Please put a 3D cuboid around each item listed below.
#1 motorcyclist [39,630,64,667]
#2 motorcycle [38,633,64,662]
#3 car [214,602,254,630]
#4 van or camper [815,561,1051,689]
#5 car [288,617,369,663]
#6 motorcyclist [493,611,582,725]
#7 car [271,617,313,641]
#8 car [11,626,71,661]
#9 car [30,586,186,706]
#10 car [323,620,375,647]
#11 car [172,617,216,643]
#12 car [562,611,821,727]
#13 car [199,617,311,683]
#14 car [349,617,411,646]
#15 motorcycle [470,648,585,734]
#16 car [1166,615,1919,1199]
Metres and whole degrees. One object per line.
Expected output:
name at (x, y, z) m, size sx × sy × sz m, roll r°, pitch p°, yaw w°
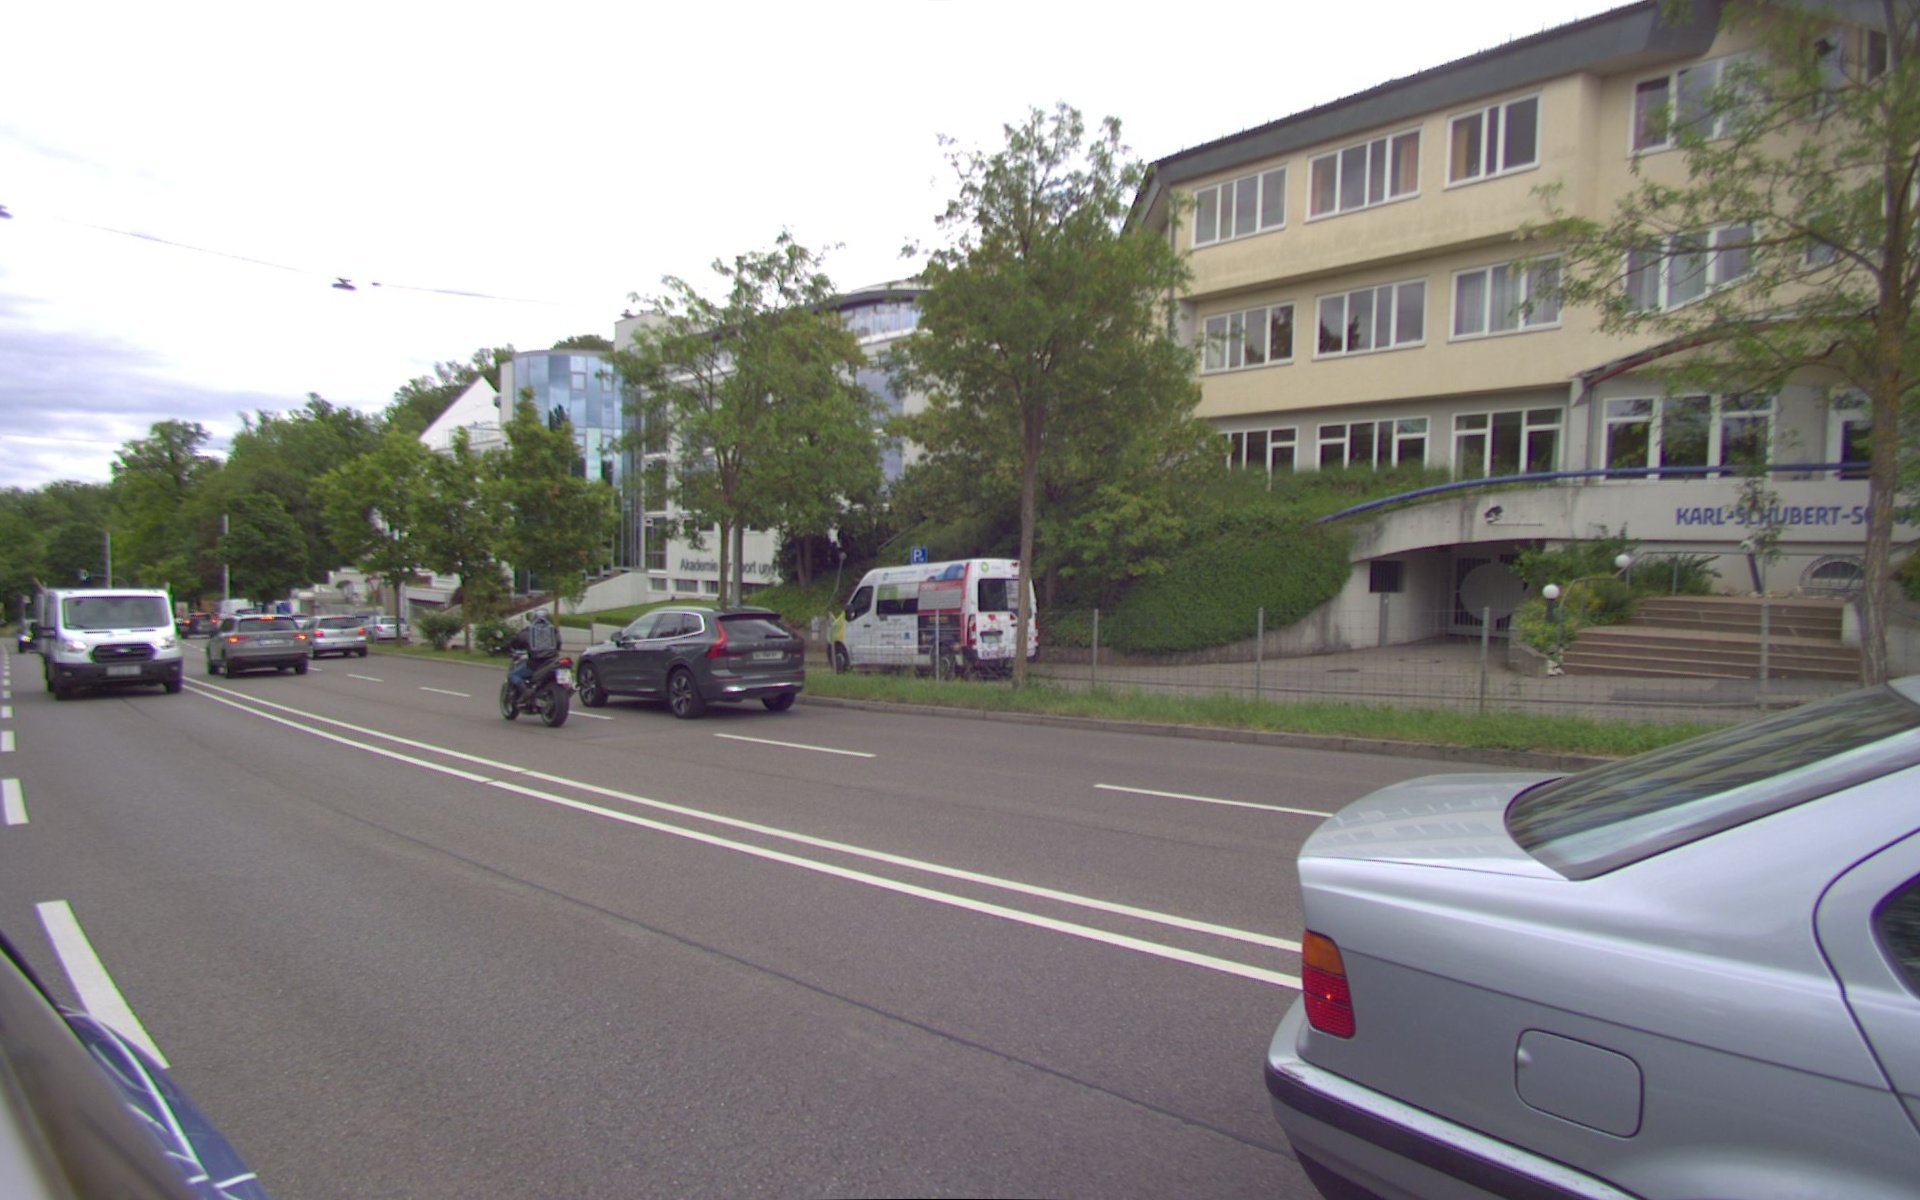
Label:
motorcyclist at (-38.358, 2.047, 42.728) m, size 0.931 × 1.482 × 0.611 m, roll -2°, pitch 2°, yaw 43°
motorcycle at (-38.683, 2.001, 43.043) m, size 2.296 × 1.135 × 0.567 m, roll -2°, pitch 2°, yaw 43°
car at (-70.144, 1.578, 97.740) m, size 6.535 × 2.545 × 1.971 m, roll -2°, pitch 1°, yaw 44°
van or camper at (-0.767, 0.524, 22.357) m, size 1.969 × 2.491 × 5.717 m, roll 0°, pitch -1°, yaw -42°
car at (-21.657, 1.344, 34.648) m, size 1.547 × 1.442 × 3.893 m, roll -2°, pitch 0°, yaw -44°
motorcyclist at (-5.798, 0.910, 13.890) m, size 0.960 × 1.496 × 0.752 m, roll -1°, pitch -3°, yaw 40°
car at (-43.219, 1.850, 65.467) m, size 1.648 × 1.515 × 4.243 m, roll 0°, pitch -1°, yaw -42°
car at (-45.317, 2.118, 49.868) m, size 4.002 × 1.560 × 1.971 m, roll -2°, pitch -1°, yaw 45°
car at (-18.279, 0.922, 21.574) m, size 6.271 × 2.190 × 1.971 m, roll -2°, pitch -1°, yaw 45°
car at (-34.273, 1.869, 56.691) m, size 1.653 × 1.439 × 4.093 m, roll -1°, pitch -1°, yaw -43°
car at (-53.462, 2.092, 70.607) m, size 4.872 × 1.721 × 1.744 m, roll -2°, pitch 0°, yaw 44°
car at (-4.349, 1.002, 15.973) m, size 4.465 × 1.587 × 1.766 m, roll -2°, pitch -2°, yaw 41°
car at (-18.574, 1.263, 26.596) m, size 1.764 × 1.550 × 4.078 m, roll -1°, pitch -1°, yaw -44°
car at (-30.348, 1.660, 52.923) m, size 4.419 × 1.439 × 1.654 m, roll -1°, pitch -3°, yaw 44°
motorcycle at (-6.034, 1.227, 14.048) m, size 2.266 × 1.064 × 0.478 m, roll -1°, pitch -1°, yaw 40°
car at (2.698, 0.730, 1.118) m, size 4.616 × 1.393 × 1.618 m, roll -2°, pitch 0°, yaw 40°
